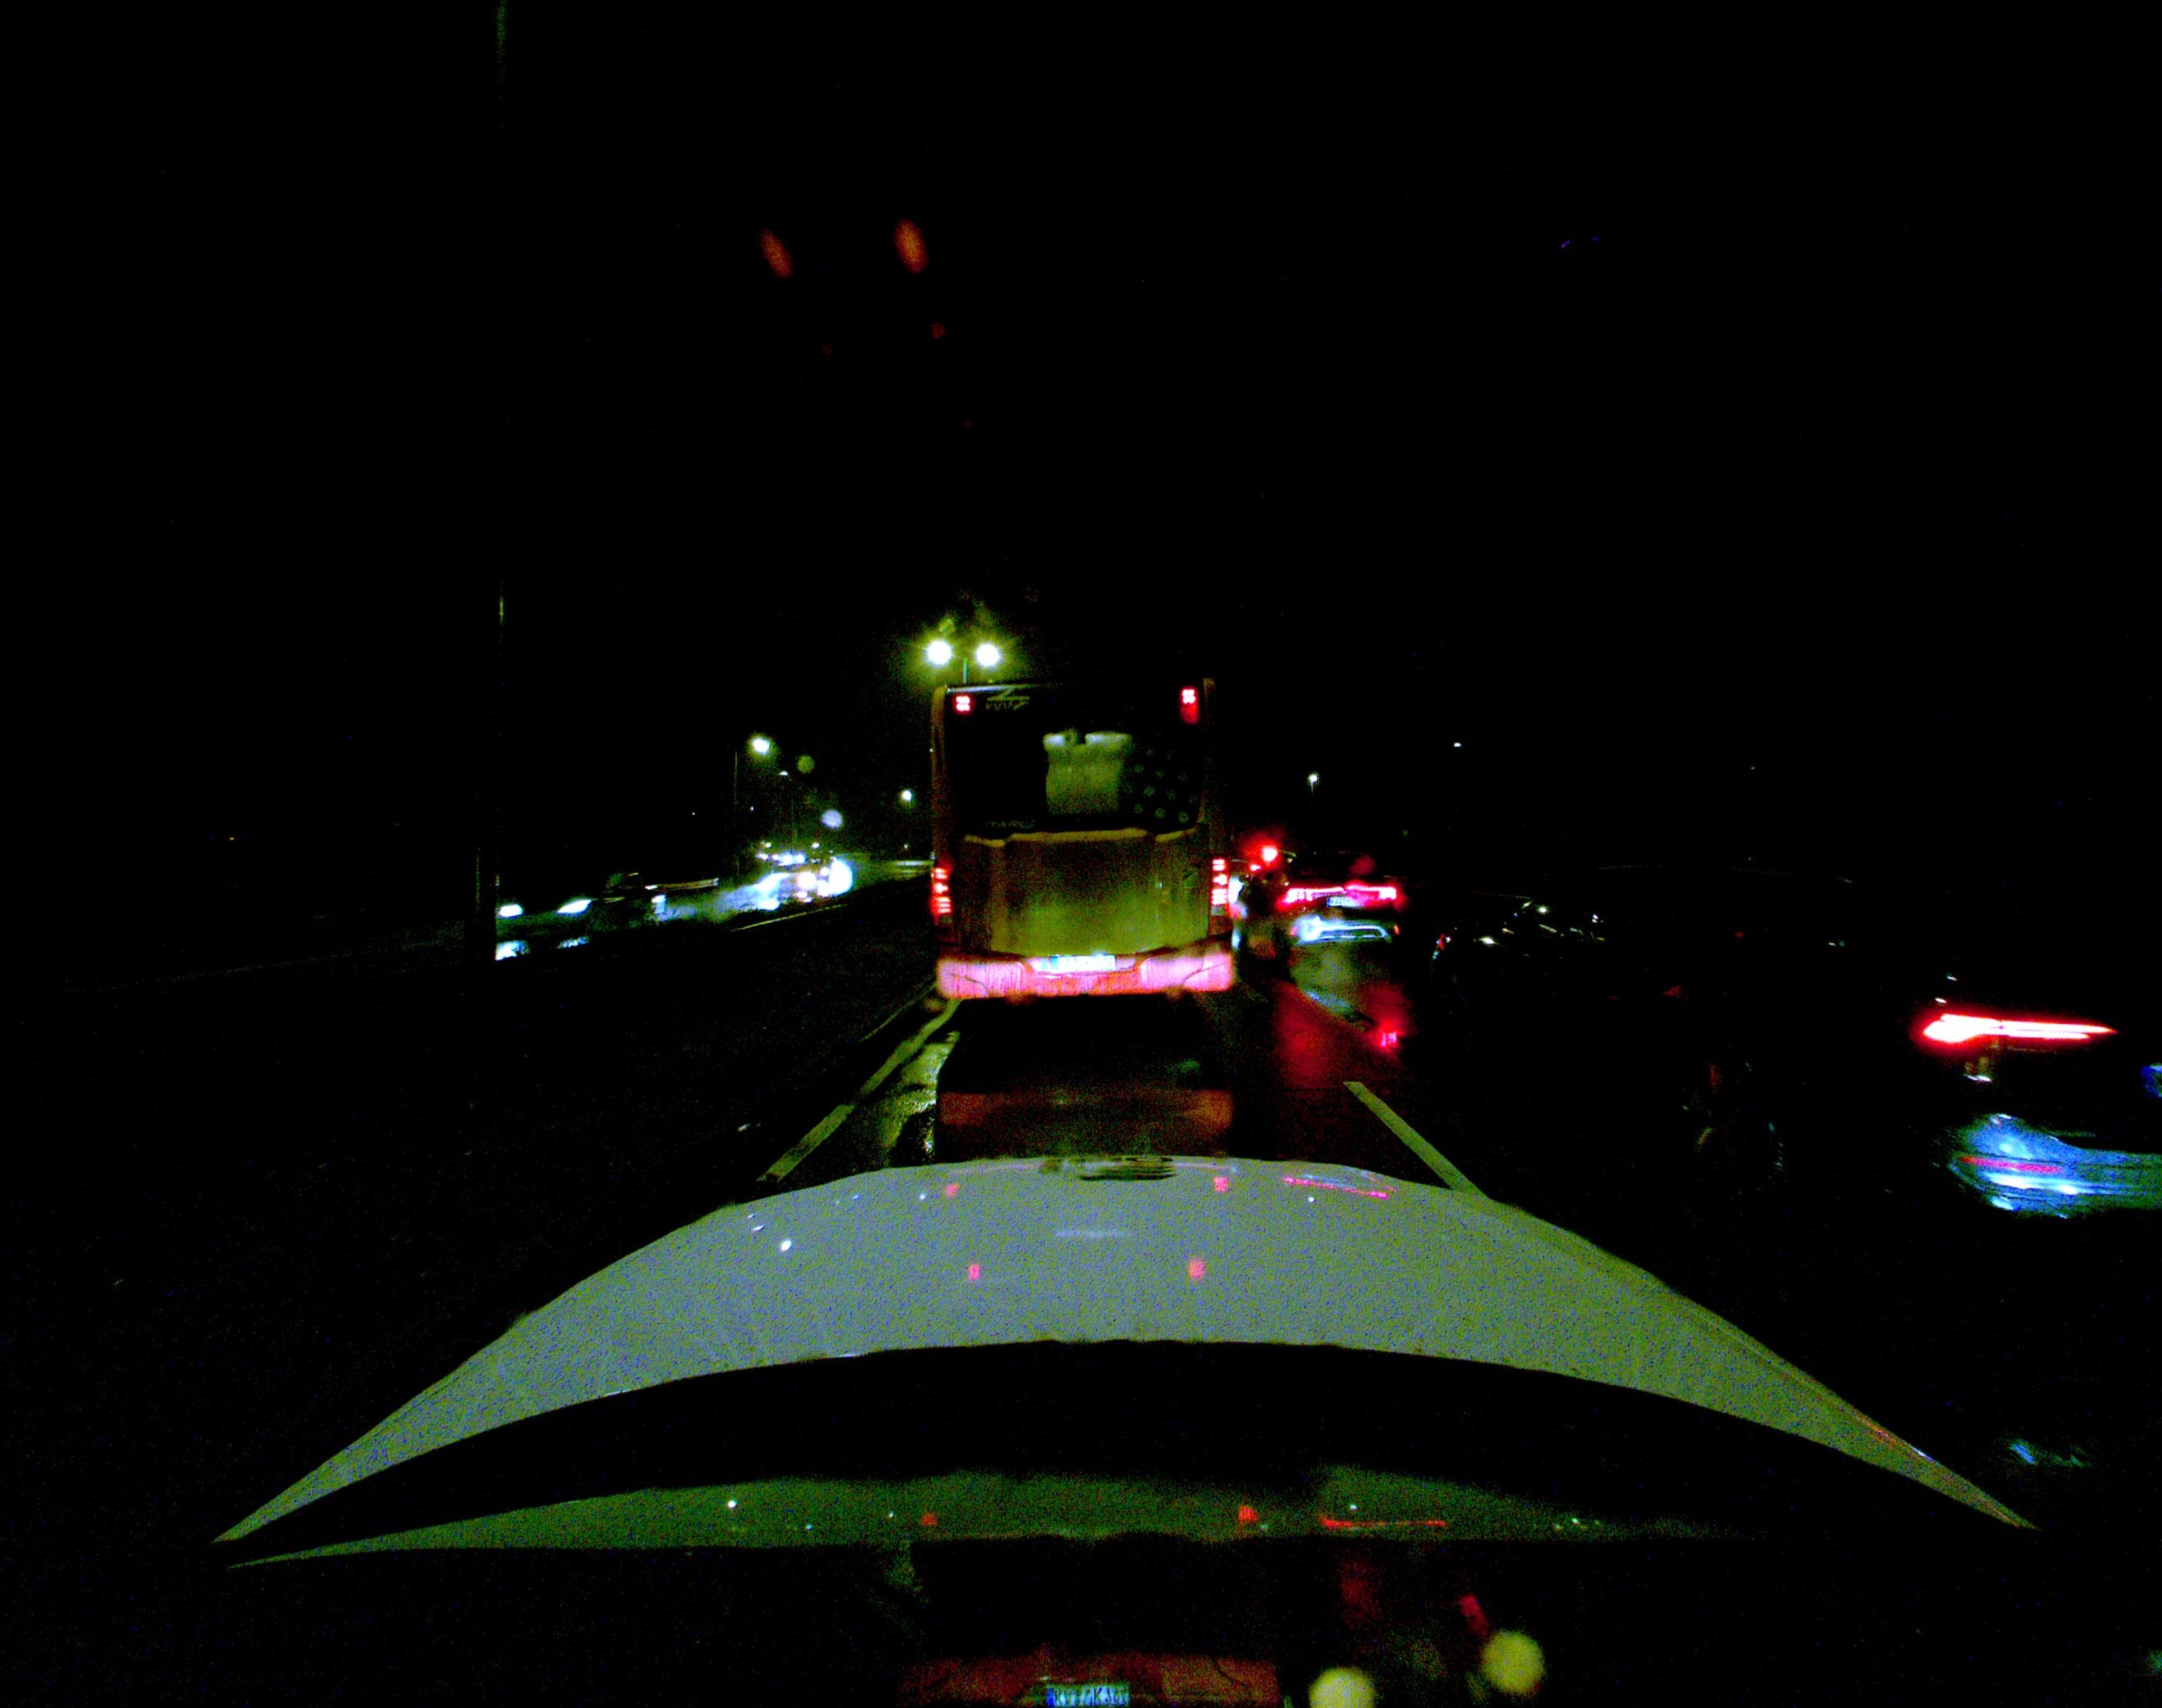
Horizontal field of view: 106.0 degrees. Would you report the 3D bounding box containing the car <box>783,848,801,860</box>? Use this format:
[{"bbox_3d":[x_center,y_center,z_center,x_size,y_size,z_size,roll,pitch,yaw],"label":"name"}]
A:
[{"bbox_3d":[-35.437,0.018,99.853,1.749,1.502,3.969,0,-1,-23],"label":"car"}]

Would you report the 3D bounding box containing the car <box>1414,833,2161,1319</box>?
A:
[{"bbox_3d":[3.675,0.730,4.829,1.666,1.506,4.561,1,-1,2],"label":"car"}]

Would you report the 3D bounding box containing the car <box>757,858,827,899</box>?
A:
[{"bbox_3d":[-12.255,1.009,34.790,1.868,1.607,4.238,-1,-1,-7],"label":"car"}]

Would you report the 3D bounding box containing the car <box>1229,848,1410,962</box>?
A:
[{"bbox_3d":[3.584,0.711,12.972,1.672,1.521,3.958,0,-1,-1],"label":"car"}]

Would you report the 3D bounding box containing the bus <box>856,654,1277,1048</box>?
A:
[{"bbox_3d":[-0.091,-0.123,11.275,3.274,3.050,9.543,-2,1,0],"label":"bus"}]

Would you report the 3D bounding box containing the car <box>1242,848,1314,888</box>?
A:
[{"bbox_3d":[8.054,0.565,33.706,1.986,1.481,4.339,1,-1,1],"label":"car"}]

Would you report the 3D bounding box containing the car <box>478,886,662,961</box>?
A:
[{"bbox_3d":[-12.190,1.577,19.848,1.708,1.423,4.661,-3,-1,-4],"label":"car"}]

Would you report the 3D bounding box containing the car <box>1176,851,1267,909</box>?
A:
[{"bbox_3d":[3.627,0.666,21.647,1.681,1.330,3.959,-3,-1,0],"label":"car"}]

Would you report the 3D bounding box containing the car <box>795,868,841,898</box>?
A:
[{"bbox_3d":[-15.905,1.708,49.391,1.763,1.631,4.241,-1,0,-6],"label":"car"}]
